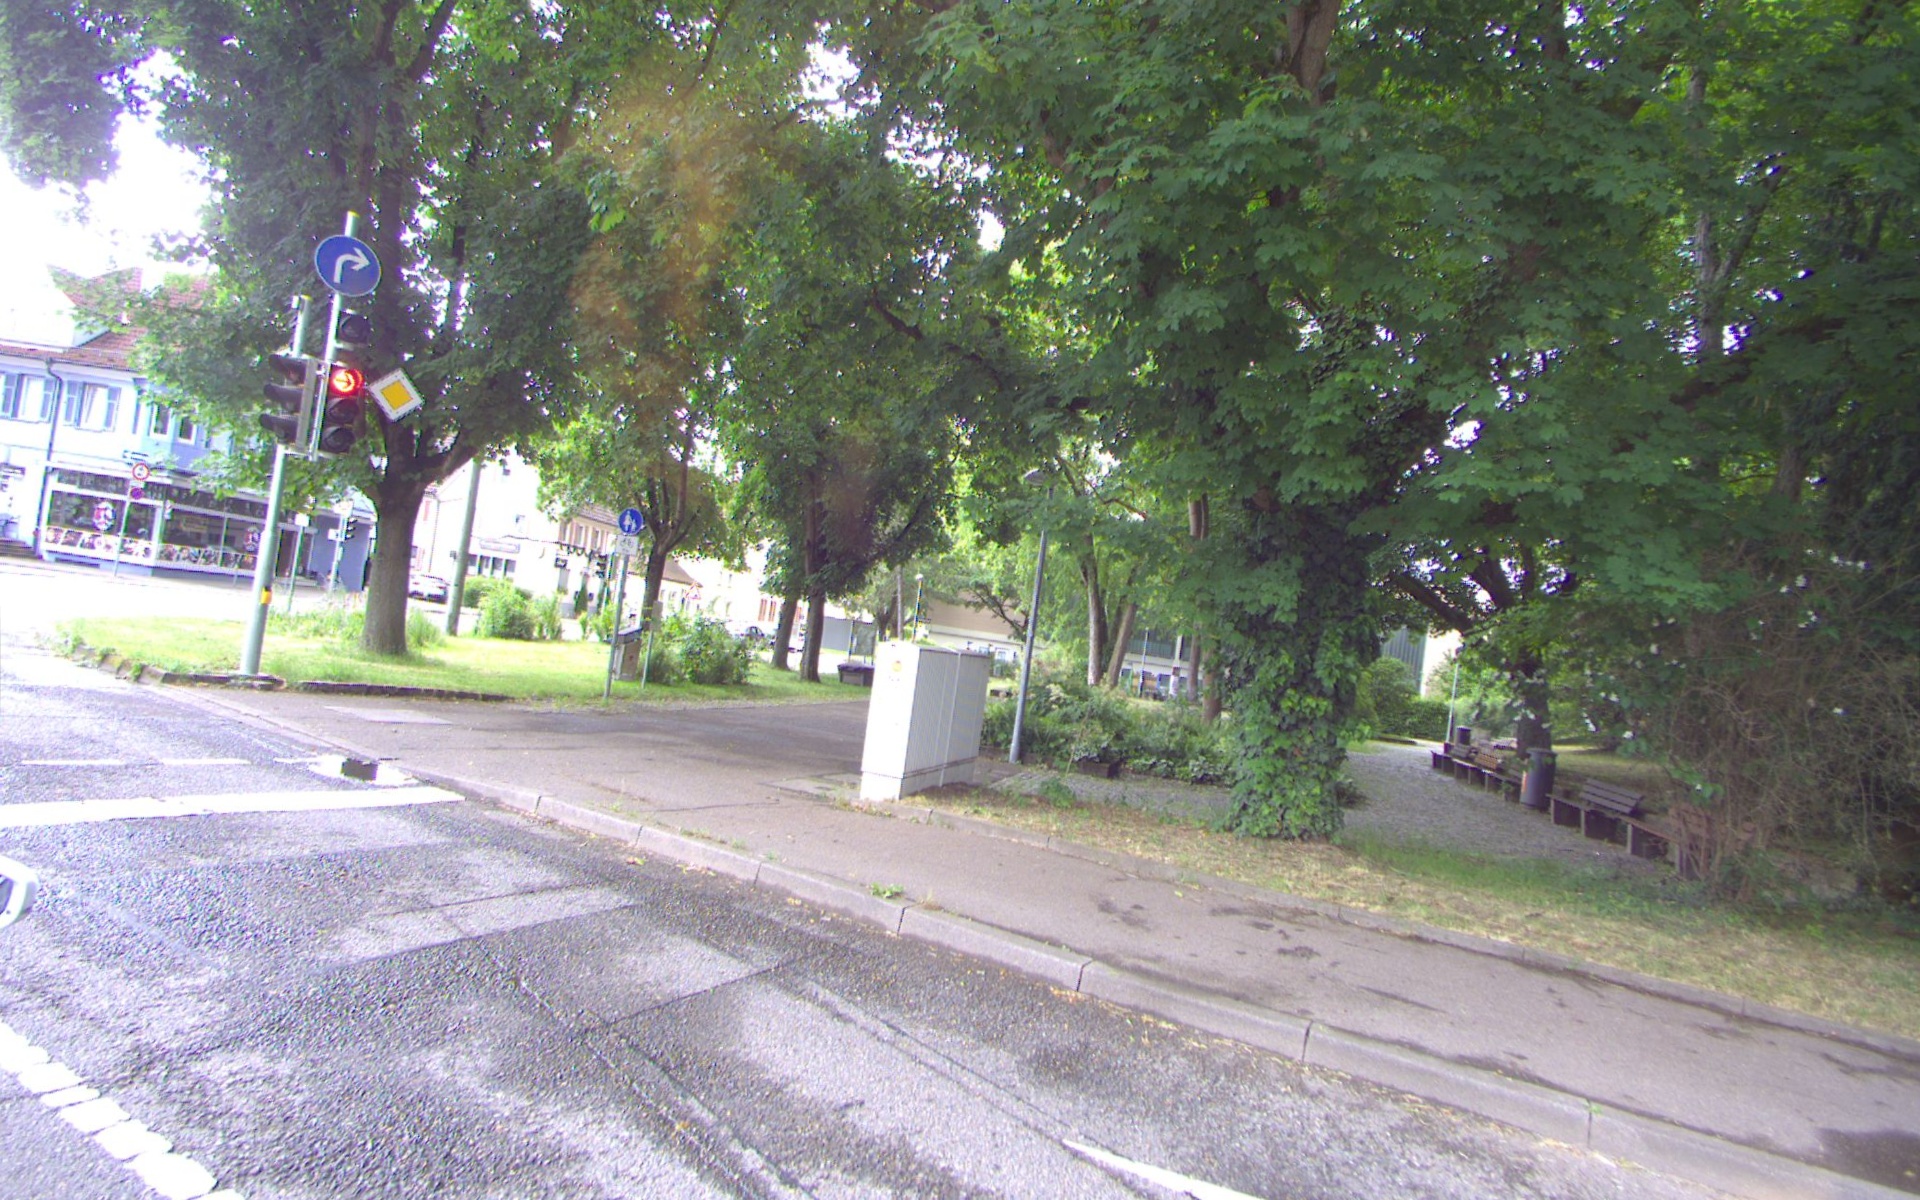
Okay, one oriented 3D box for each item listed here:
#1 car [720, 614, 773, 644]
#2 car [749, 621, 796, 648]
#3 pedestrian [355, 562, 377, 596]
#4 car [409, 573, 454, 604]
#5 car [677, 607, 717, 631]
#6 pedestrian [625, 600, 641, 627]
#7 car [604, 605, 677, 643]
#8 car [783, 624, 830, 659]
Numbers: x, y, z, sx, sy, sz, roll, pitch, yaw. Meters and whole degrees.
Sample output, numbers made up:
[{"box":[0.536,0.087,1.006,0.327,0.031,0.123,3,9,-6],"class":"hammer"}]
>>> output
[{"box":[-11.571,1.599,54.821,1.530,1.336,3.514,7,-2,9],"class":"car"},{"box":[-11.170,2.073,60.105,1.530,1.336,3.514,7,-2,8],"class":"car"},{"box":[-28.981,-1.016,49.079,0.451,1.535,0.588,7,-1,18],"class":"pedestrian"},{"box":[-27.873,-0.602,53.144,1.479,1.384,3.166,8,-2,-19],"class":"car"},{"box":[-19.373,1.445,74.248,1.528,1.436,4.005,7,-2,4],"class":"car"},{"box":[-21.059,0.852,64.886,0.600,1.668,0.610,7,-1,3],"class":"pedestrian"},{"box":[-14.012,1.091,44.356,1.530,1.336,3.514,7,-2,9],"class":"car"},{"box":[-10.059,2.761,66.174,1.750,2.037,4.005,7,-2,7],"class":"car"}]
